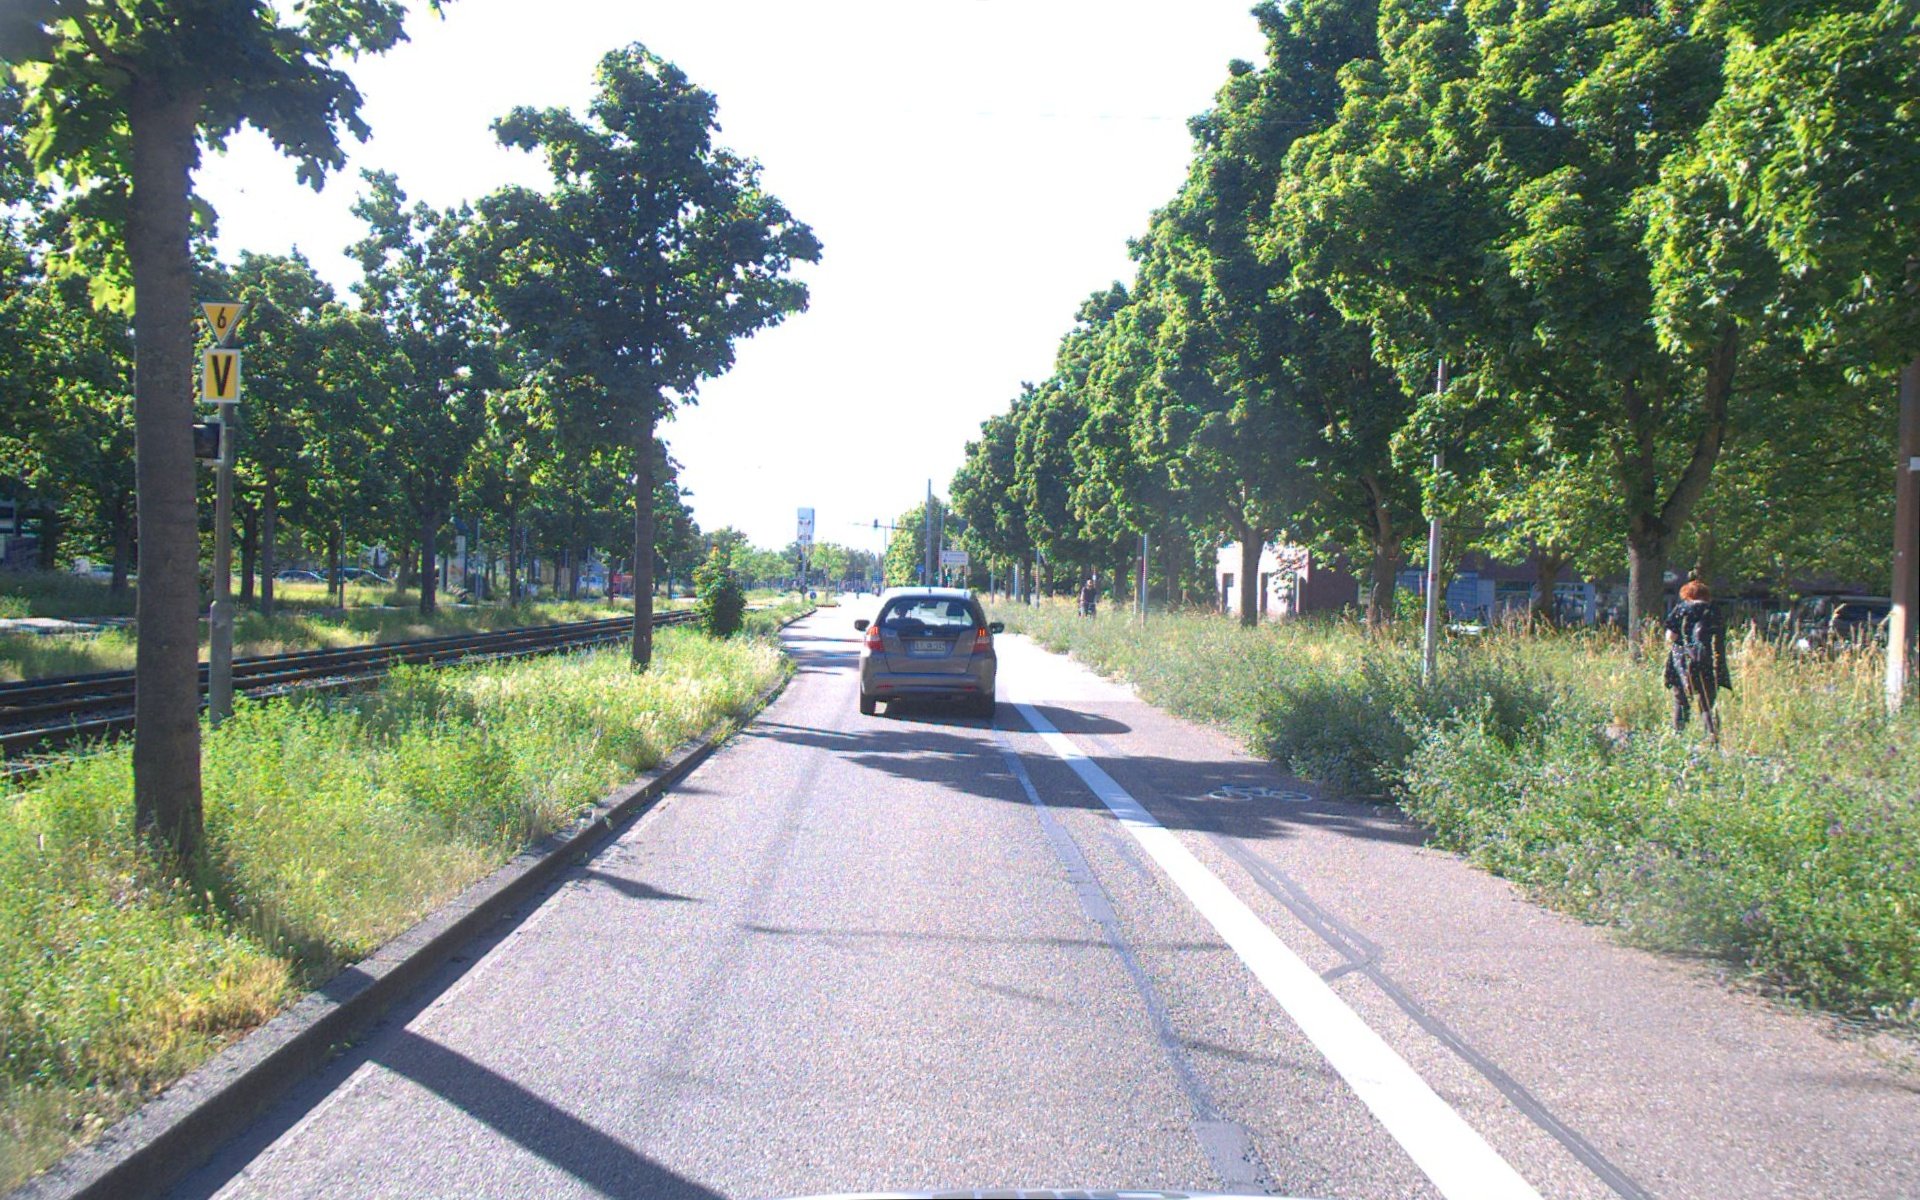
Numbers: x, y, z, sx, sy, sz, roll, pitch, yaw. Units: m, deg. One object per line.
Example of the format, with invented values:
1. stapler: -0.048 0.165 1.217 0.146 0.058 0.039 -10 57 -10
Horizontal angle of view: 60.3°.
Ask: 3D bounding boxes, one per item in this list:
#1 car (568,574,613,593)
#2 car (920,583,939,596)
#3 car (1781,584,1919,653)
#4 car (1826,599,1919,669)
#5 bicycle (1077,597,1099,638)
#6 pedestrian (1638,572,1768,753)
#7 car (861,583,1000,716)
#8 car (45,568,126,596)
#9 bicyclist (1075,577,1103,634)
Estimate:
1. car: -39.667 -1.749 177.757 1.823 2.008 4.768 1 1 36
2. car: -3.514 -1.198 189.897 1.740 1.411 3.863 0 0 -8
3. car: 21.587 0.438 38.628 3.948 1.531 1.738 1 0 -1
4. car: 21.674 0.771 36.465 4.266 1.484 1.689 1 0 2
5. bicycle: 3.955 0.541 51.176 0.473 1.225 2.143 1 -2 -1
6. pedestrian: 6.804 0.559 15.181 0.807 1.596 0.762 2 0 -1
7. car: -0.408 0.568 20.911 1.591 1.526 3.455 1 0 -2
8. car: -55.579 -1.116 105.142 4.380 1.668 1.966 1 0 -35
9. bicyclist: 3.996 0.171 51.143 0.670 1.750 0.901 1 -1 -6
